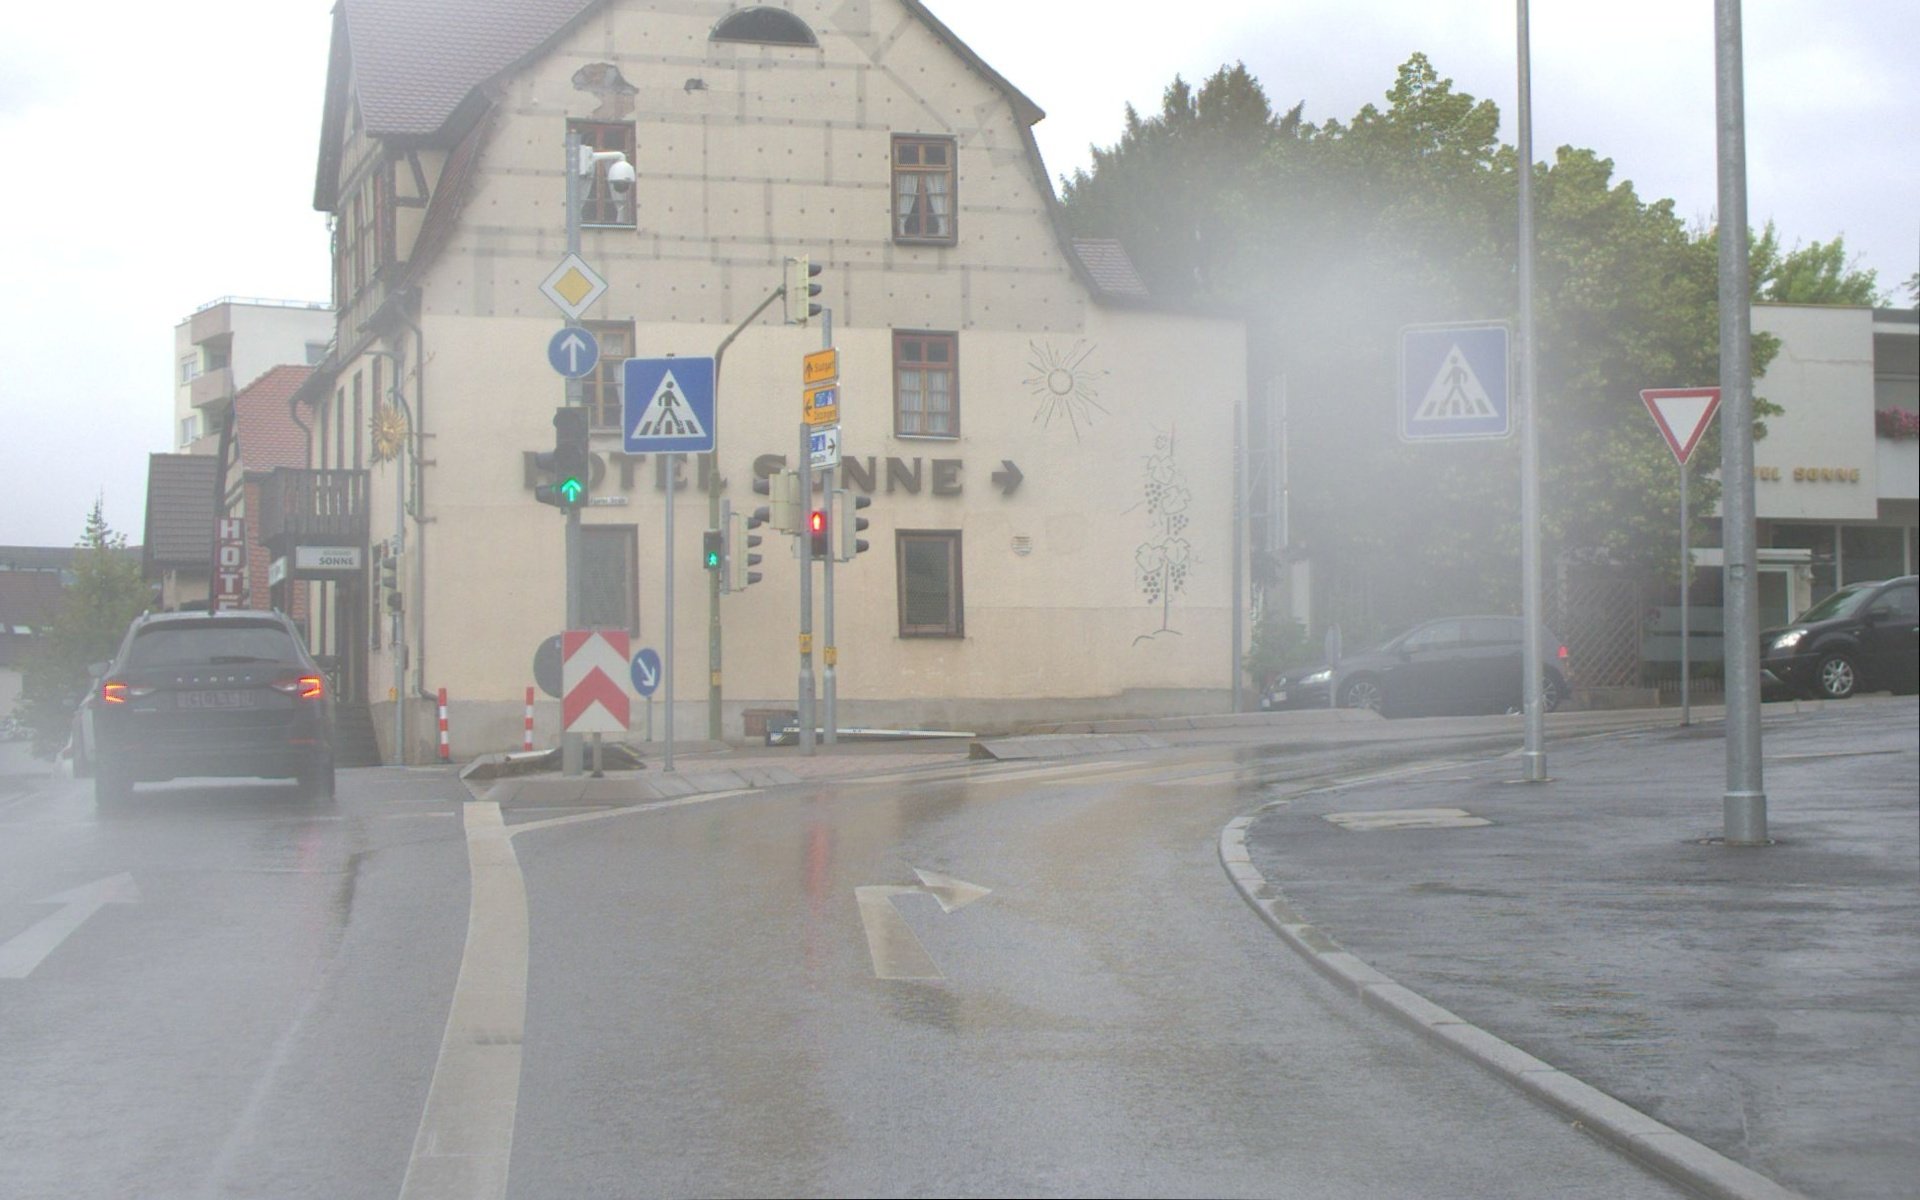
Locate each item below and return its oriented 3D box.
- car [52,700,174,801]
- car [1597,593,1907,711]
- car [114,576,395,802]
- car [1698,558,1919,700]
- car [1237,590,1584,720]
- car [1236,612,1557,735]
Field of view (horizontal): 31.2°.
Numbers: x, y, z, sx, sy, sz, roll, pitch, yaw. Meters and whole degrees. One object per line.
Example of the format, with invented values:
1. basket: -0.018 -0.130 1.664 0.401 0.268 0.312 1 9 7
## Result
1. car: -14.515 2.549 59.067 1.886 1.462 4.001 -2 1 -12
2. car: 12.008 0.786 52.179 4.171 1.514 1.779 -2 -4 -19
3. car: -5.511 0.633 27.315 1.944 1.561 4.418 0 1 -8
4. car: 12.946 0.387 49.068 4.300 1.809 1.779 -2 -4 -19
5. car: 6.178 0.757 47.184 4.301 1.500 1.779 -2 -4 -20
6. car: 6.323 1.070 49.873 4.171 1.514 1.779 -2 -4 -19
